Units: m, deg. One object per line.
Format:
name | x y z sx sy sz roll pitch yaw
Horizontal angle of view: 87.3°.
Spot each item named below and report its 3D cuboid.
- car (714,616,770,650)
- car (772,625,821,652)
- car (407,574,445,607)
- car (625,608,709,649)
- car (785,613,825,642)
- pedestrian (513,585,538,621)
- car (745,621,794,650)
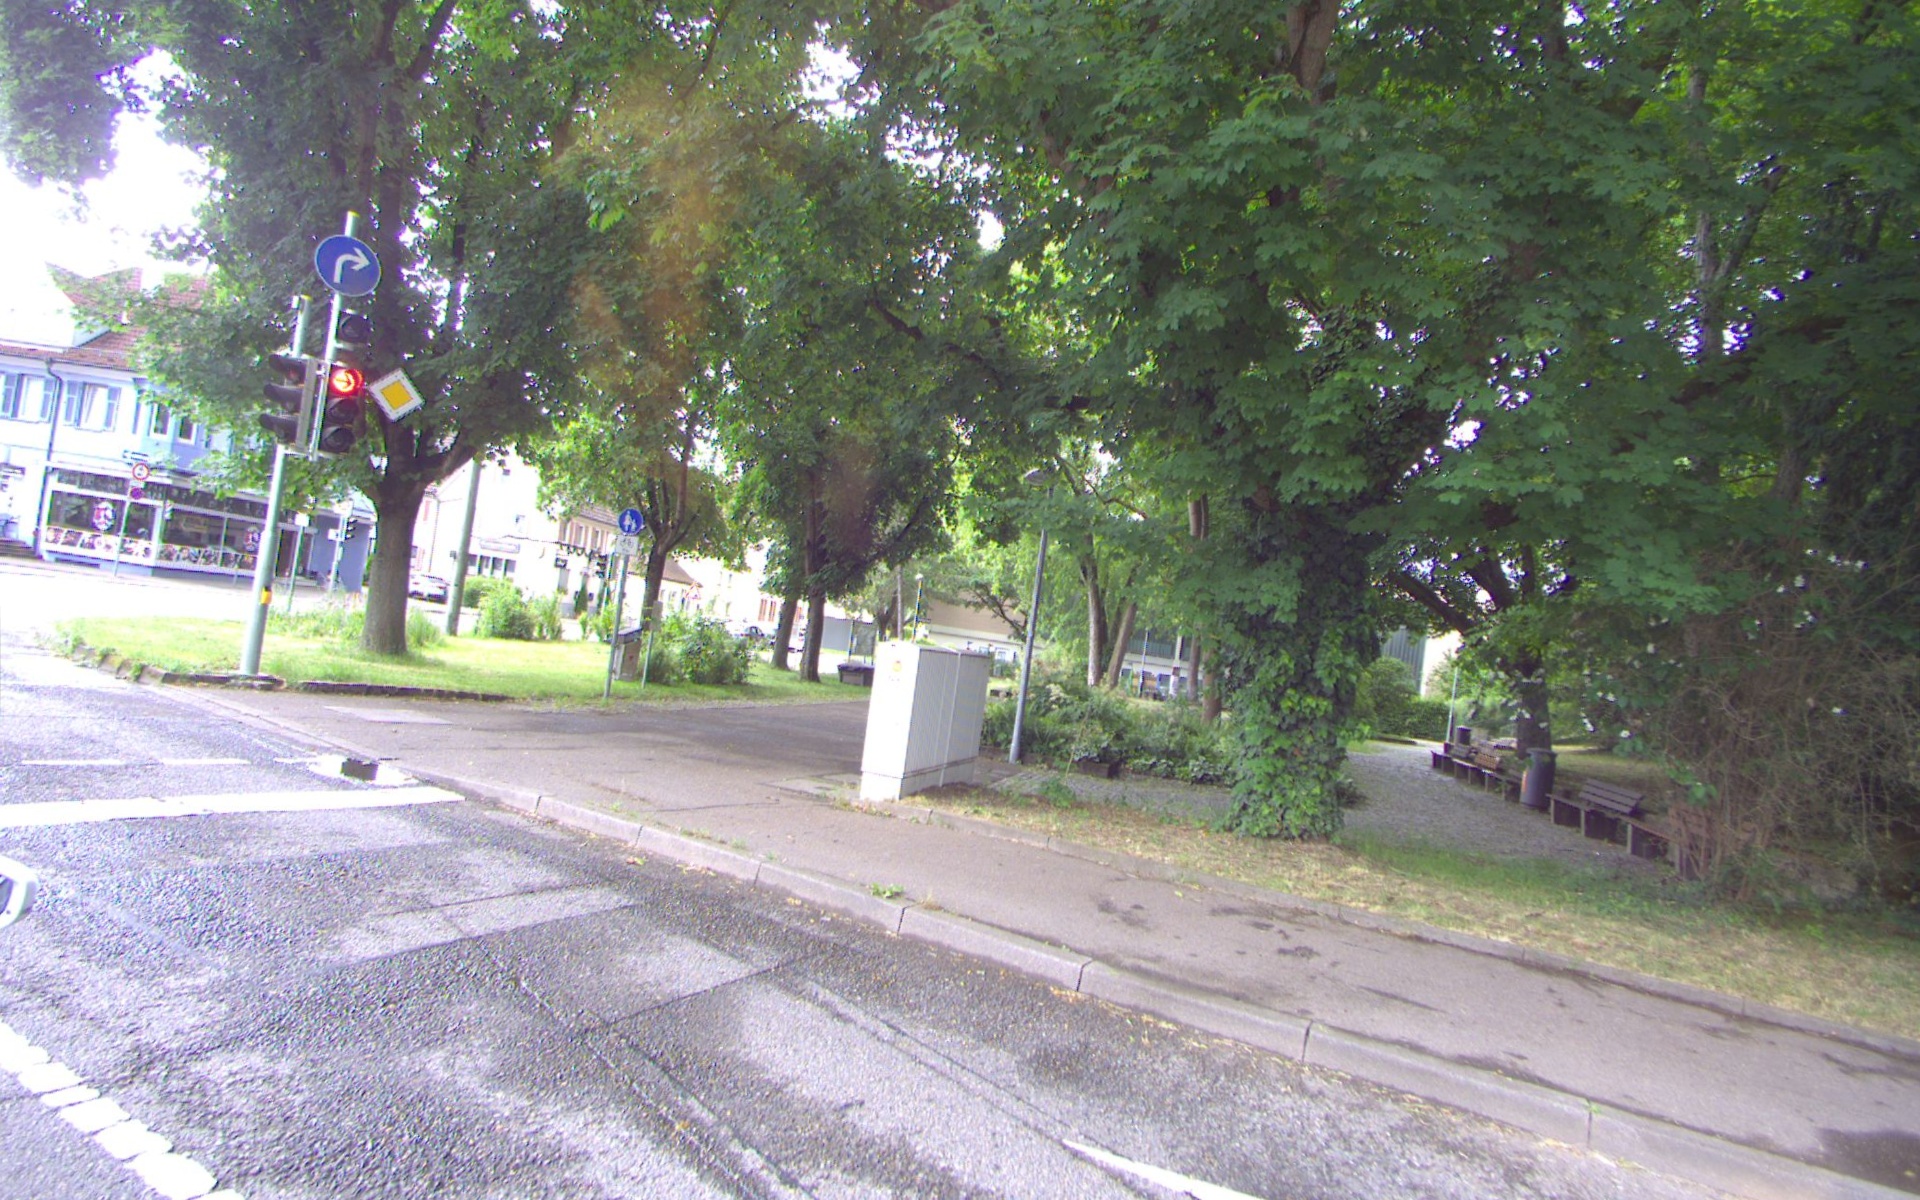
car | -11.850 1.842 54.998 1.838 1.589 4.004 7 -2 4
car | -10.749 2.534 66.448 1.888 1.473 4.406 7 -2 6
car | -28.179 -0.519 53.143 1.554 1.478 3.417 9 -3 -27
car | -13.006 1.312 44.904 1.864 1.472 4.553 7 -3 6
car | -15.365 2.765 100.105 2.292 2.418 5.967 7 -2 6
pedestrian | -22.170 0.175 51.367 0.743 1.716 0.647 7 -1 3
car | -11.329 2.132 60.131 1.706 1.406 3.746 7 -2 6
